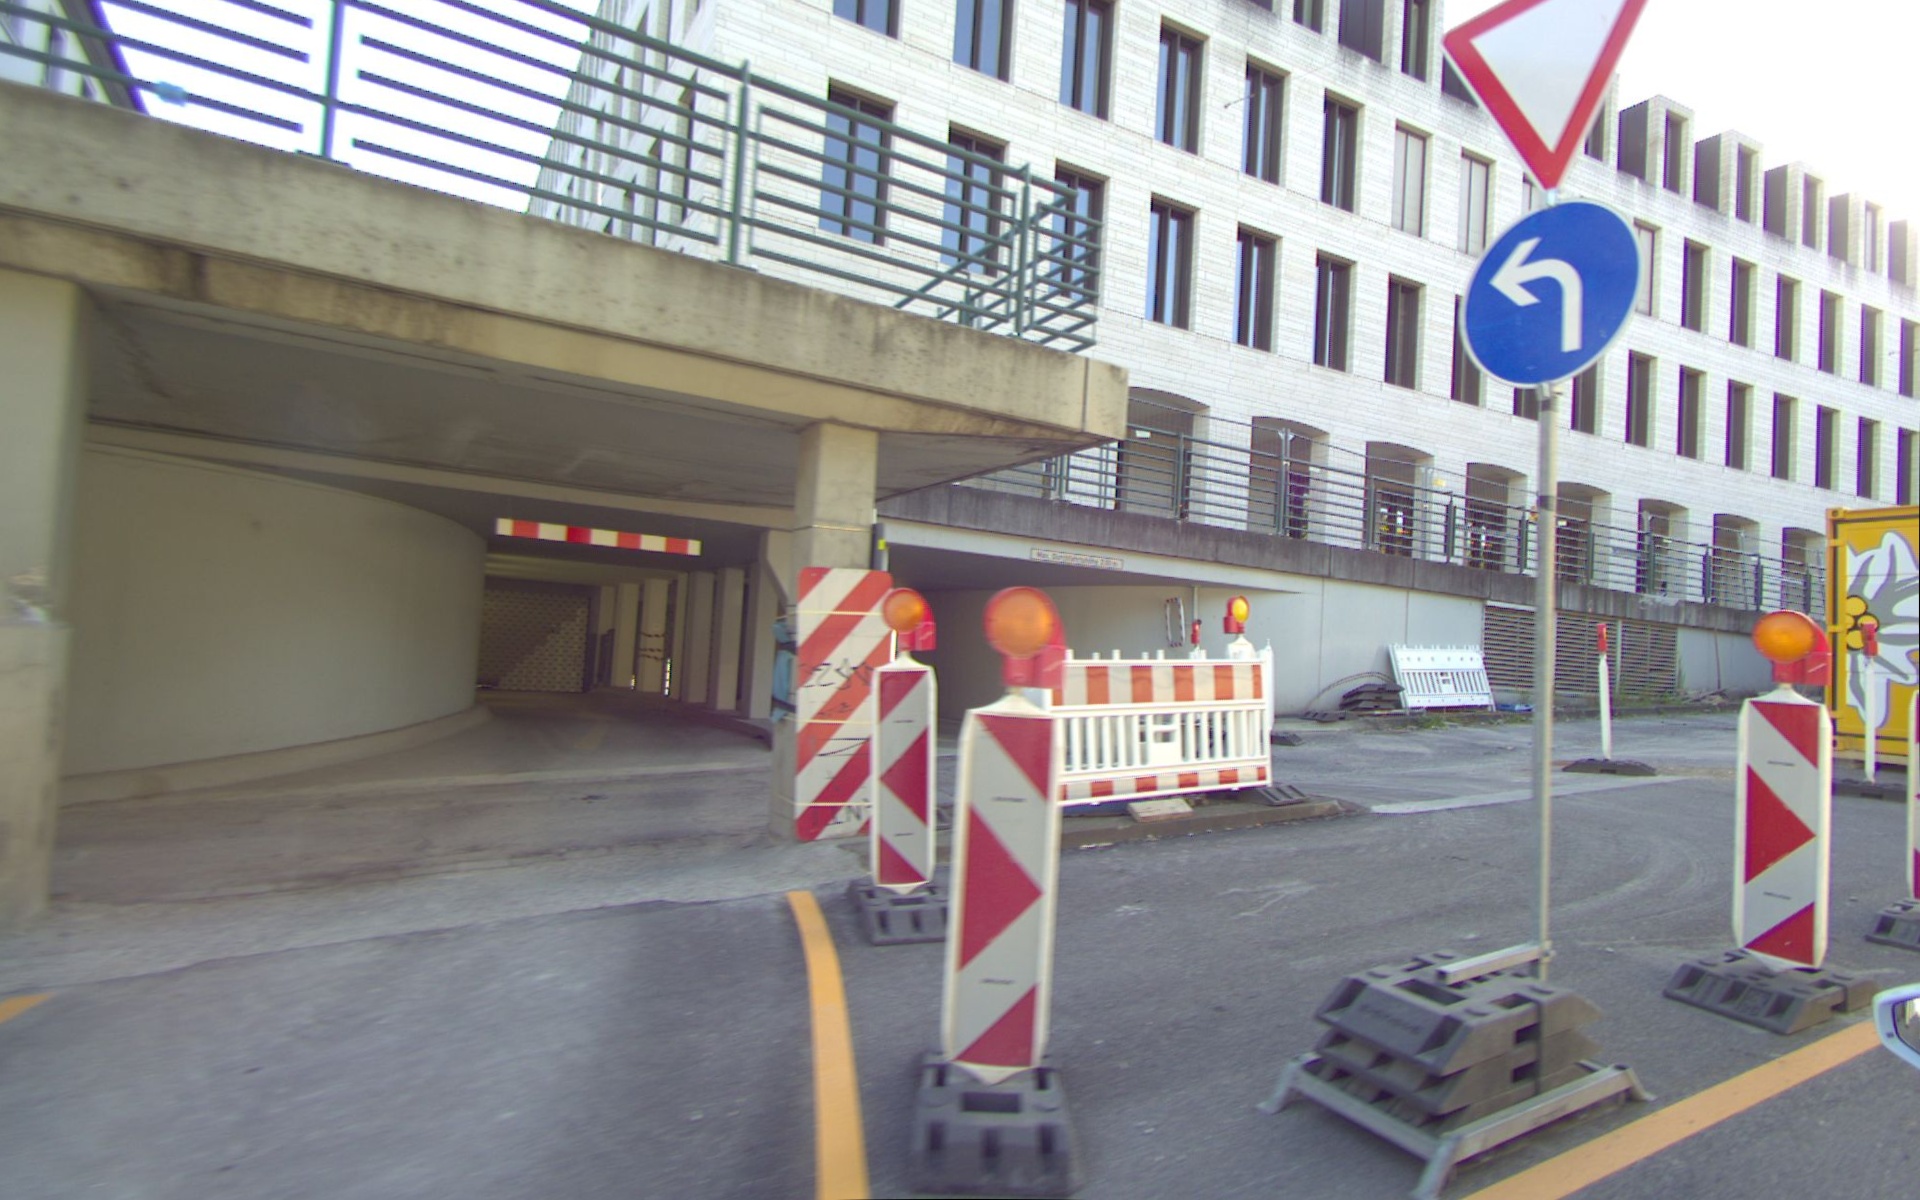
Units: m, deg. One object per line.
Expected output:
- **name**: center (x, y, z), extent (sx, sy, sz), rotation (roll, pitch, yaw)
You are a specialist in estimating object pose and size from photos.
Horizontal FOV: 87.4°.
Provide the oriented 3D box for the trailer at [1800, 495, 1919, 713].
- **trailer**: center (20.123, 0.220, 19.316), extent (8.633, 3.715, 2.635), rotation (2, -5, -26)
